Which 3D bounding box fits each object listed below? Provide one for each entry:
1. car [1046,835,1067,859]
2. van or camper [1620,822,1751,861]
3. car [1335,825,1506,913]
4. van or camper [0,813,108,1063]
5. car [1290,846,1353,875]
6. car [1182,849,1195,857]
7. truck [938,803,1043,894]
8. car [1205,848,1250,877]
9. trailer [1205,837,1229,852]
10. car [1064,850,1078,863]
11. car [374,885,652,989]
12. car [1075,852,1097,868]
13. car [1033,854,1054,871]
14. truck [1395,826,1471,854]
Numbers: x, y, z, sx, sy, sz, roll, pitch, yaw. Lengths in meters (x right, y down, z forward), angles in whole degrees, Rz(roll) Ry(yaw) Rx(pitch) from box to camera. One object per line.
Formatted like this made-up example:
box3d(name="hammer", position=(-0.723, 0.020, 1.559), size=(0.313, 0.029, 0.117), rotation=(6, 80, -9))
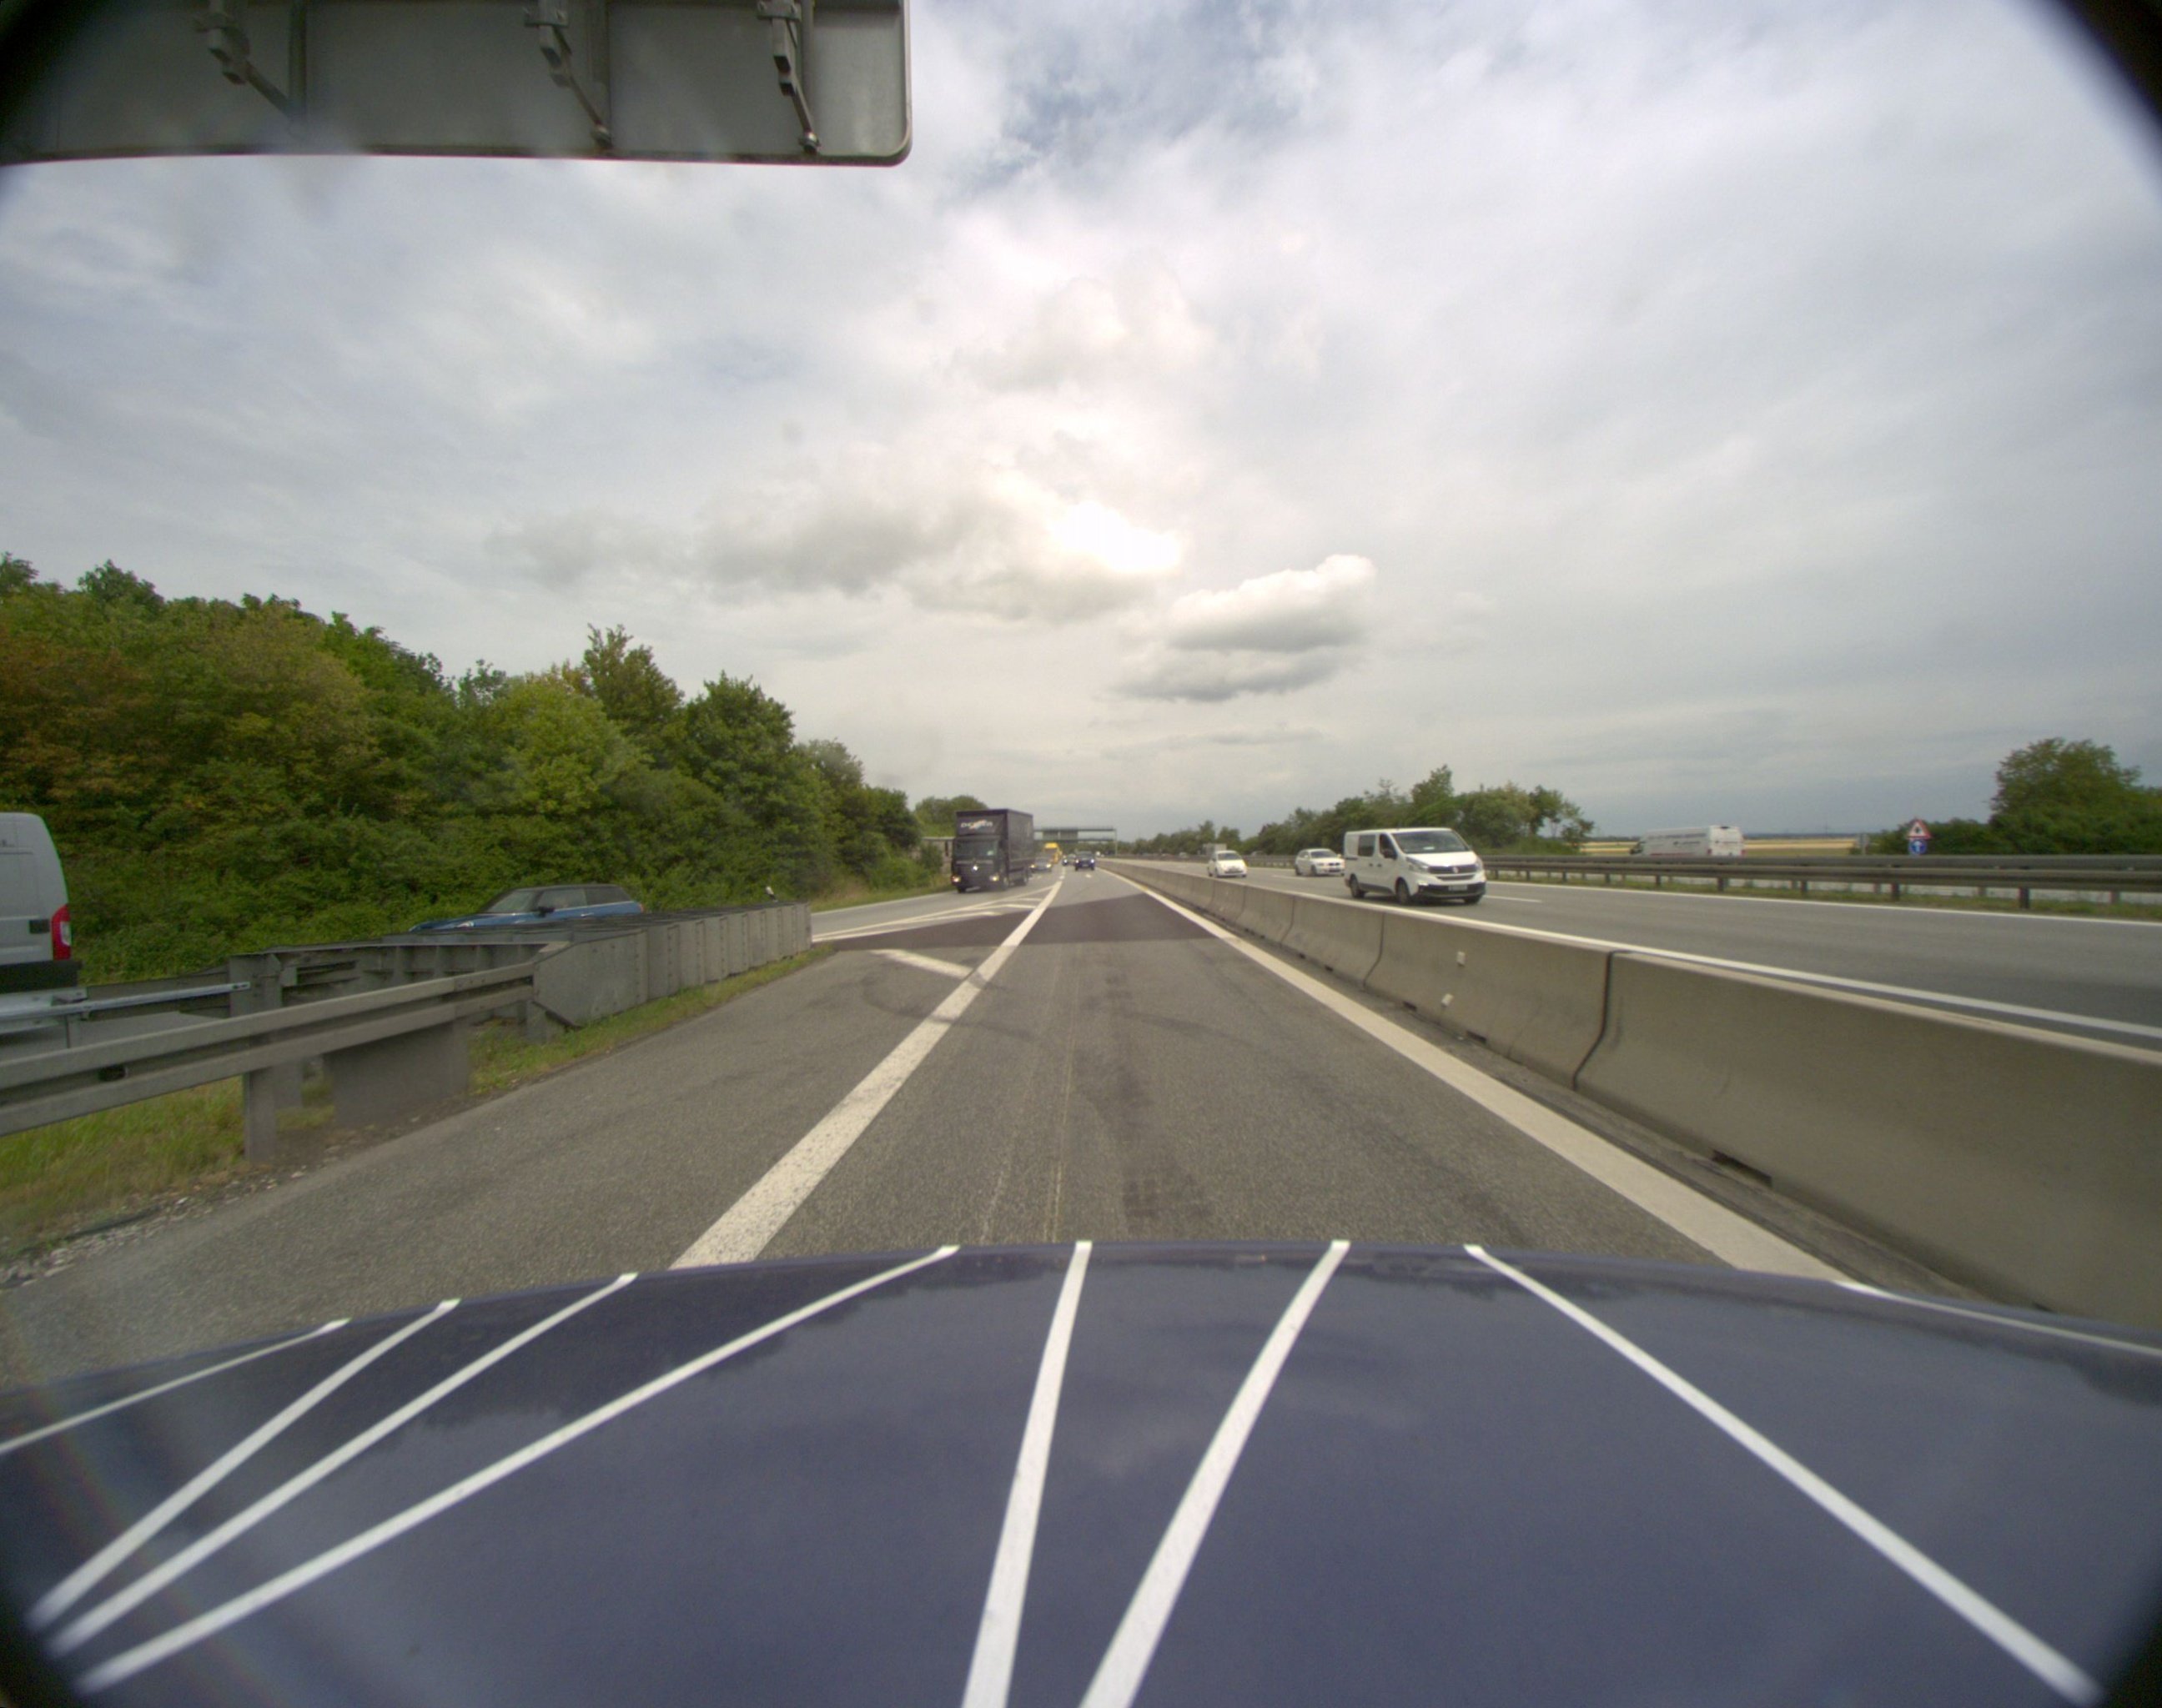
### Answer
box3d(name="car", position=(-4.776, -1.311, 149.475), size=(3.394, 4.457, 11.606), rotation=(-2, 0, 1))
box3d(name="van or camper", position=(34.410, -0.664, 43.568), size=(2.241, 2.002, 6.275), rotation=(-2, 0, -4))
box3d(name="car", position=(8.710, 0.319, 20.112), size=(2.005, 1.927, 5.130), rotation=(-3, 1, -2))
box3d(name="van or camper", position=(-13.200, 0.922, 6.154), size=(2.295, 2.553, 6.171), rotation=(-1, 0, 28))
box3d(name="car", position=(12.491, 0.312, 39.718), size=(1.757, 1.361, 4.204), rotation=(-2, 1, -3))
box3d(name="car", position=(19.563, -0.170, 138.299), size=(1.897, 1.415, 4.000), rotation=(-2, 0, 2))
box3d(name="truck", position=(-4.287, -0.275, 38.954), size=(3.023, 3.931, 10.344), rotation=(-2, 0, 6))
box3d(name="car", position=(8.164, 0.464, 42.523), size=(1.685, 1.476, 3.774), rotation=(-2, 0, -1))
box3d(name="trailer", position=(29.850, -2.076, 167.453), size=(3.206, 3.250, 9.821), rotation=(-2, 0, -2))
box3d(name="car", position=(-1.456, 0.364, 109.944), size=(1.785, 1.761, 4.000), rotation=(-2, 0, 1))
box3d(name="car", position=(-10.163, 1.410, 13.941), size=(1.731, 1.411, 3.670), rotation=(-2, 1, 21))
box3d(name="car", position=(0.458, 0.566, 73.047), size=(1.866, 1.434, 3.999), rotation=(-2, 0, -2))
box3d(name="car", position=(-3.427, 0.760, 70.181), size=(1.866, 1.434, 3.999), rotation=(-2, 0, -2))
box3d(name="truck", position=(37.023, -1.413, 80.339), size=(2.916, 2.758, 8.774), rotation=(-2, 0, -8))
